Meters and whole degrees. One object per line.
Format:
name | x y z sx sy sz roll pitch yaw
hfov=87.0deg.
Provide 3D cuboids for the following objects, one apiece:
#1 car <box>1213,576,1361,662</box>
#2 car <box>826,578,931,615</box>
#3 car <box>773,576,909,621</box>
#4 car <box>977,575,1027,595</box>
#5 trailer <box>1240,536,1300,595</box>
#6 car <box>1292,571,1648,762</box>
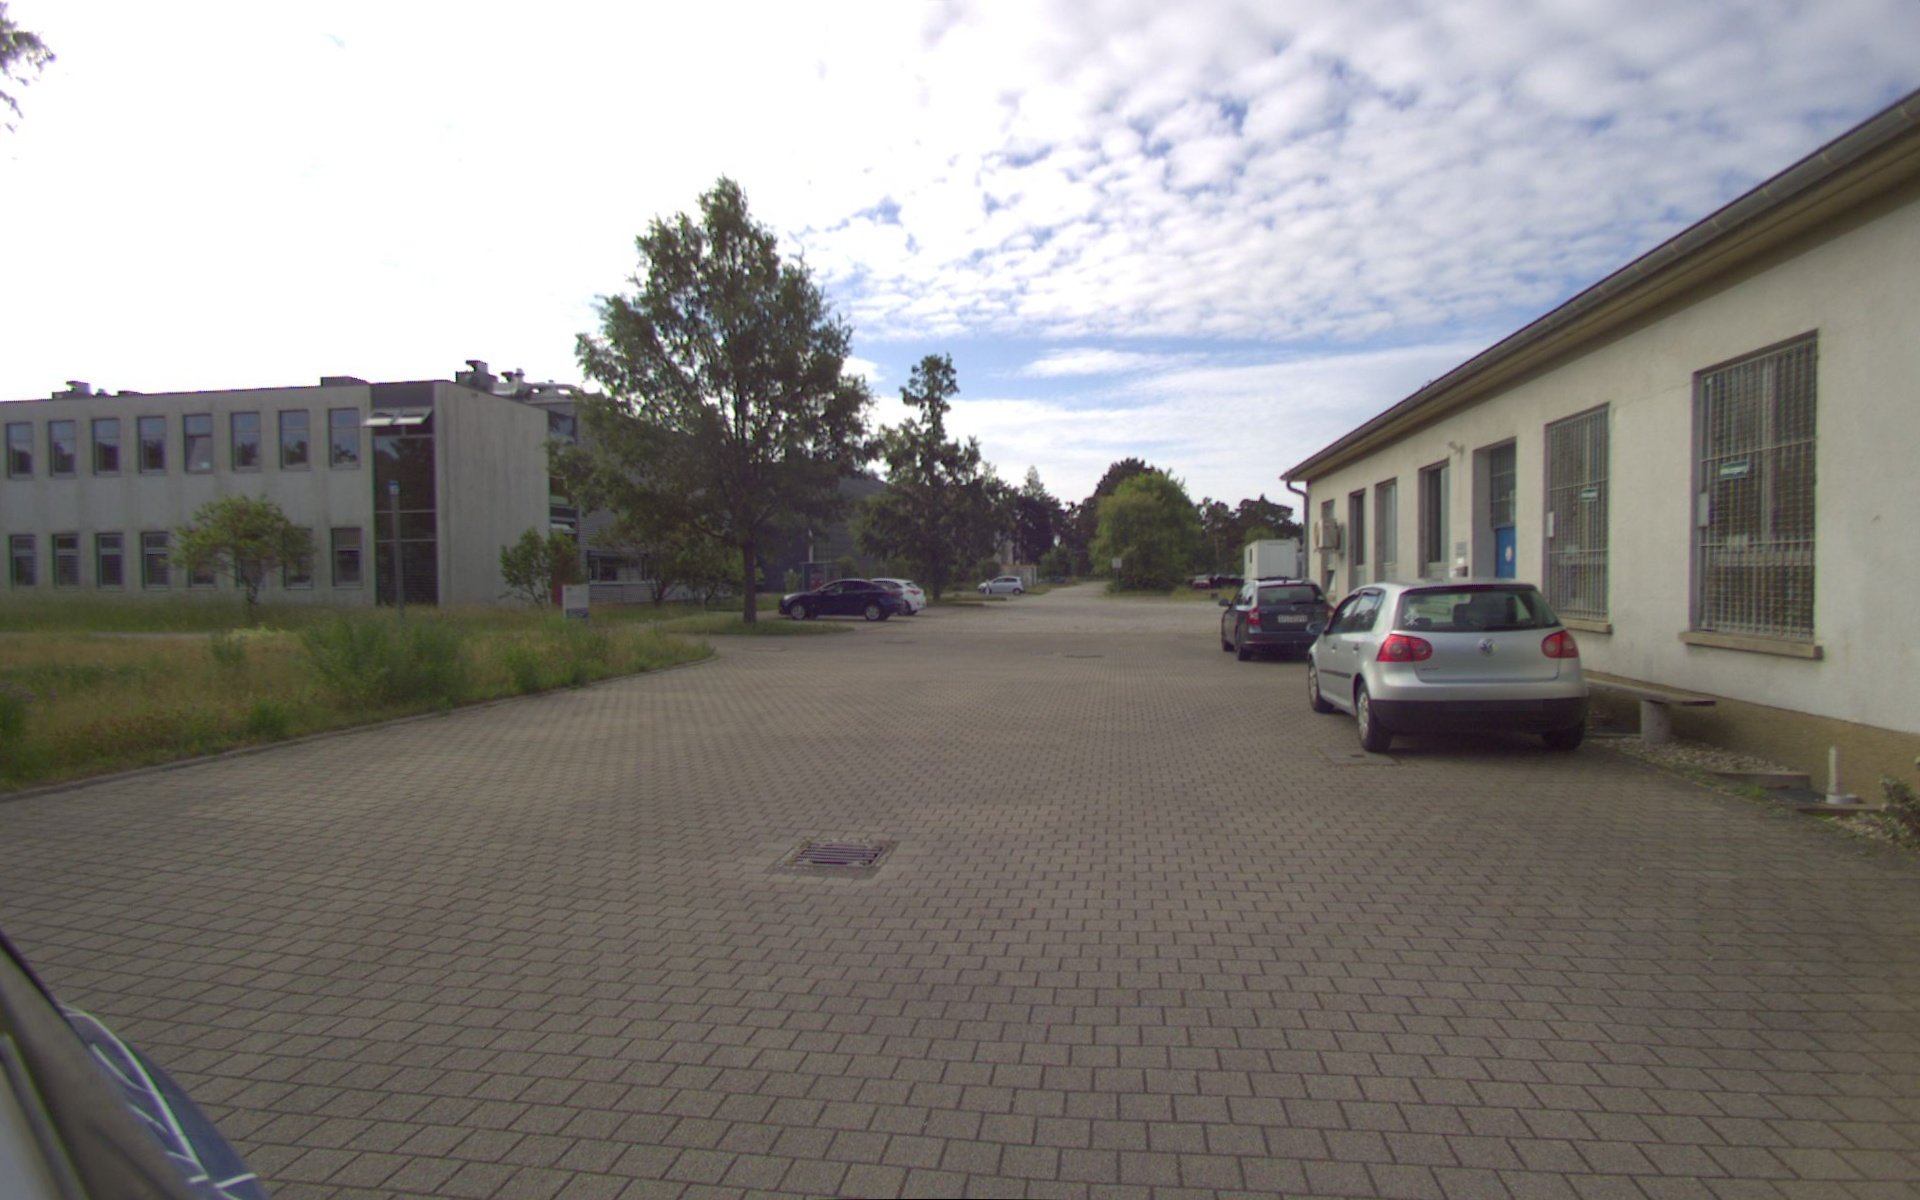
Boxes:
car | 6.175 0.276 19.663 1.908 1.472 4.799 0 1 8
car | -3.279 -0.167 41.038 3.944 1.477 1.877 0 1 10
car | -4.154 -0.076 35.760 4.428 1.458 1.939 1 1 10
car | 3.600 -1.283 86.594 4.085 1.636 1.935 2 2 7
trailer | 21.183 -2.301 69.638 2.848 3.689 10.740 0 1 11
car | 4.625 0.458 9.992 1.909 1.450 4.355 0 1 10
